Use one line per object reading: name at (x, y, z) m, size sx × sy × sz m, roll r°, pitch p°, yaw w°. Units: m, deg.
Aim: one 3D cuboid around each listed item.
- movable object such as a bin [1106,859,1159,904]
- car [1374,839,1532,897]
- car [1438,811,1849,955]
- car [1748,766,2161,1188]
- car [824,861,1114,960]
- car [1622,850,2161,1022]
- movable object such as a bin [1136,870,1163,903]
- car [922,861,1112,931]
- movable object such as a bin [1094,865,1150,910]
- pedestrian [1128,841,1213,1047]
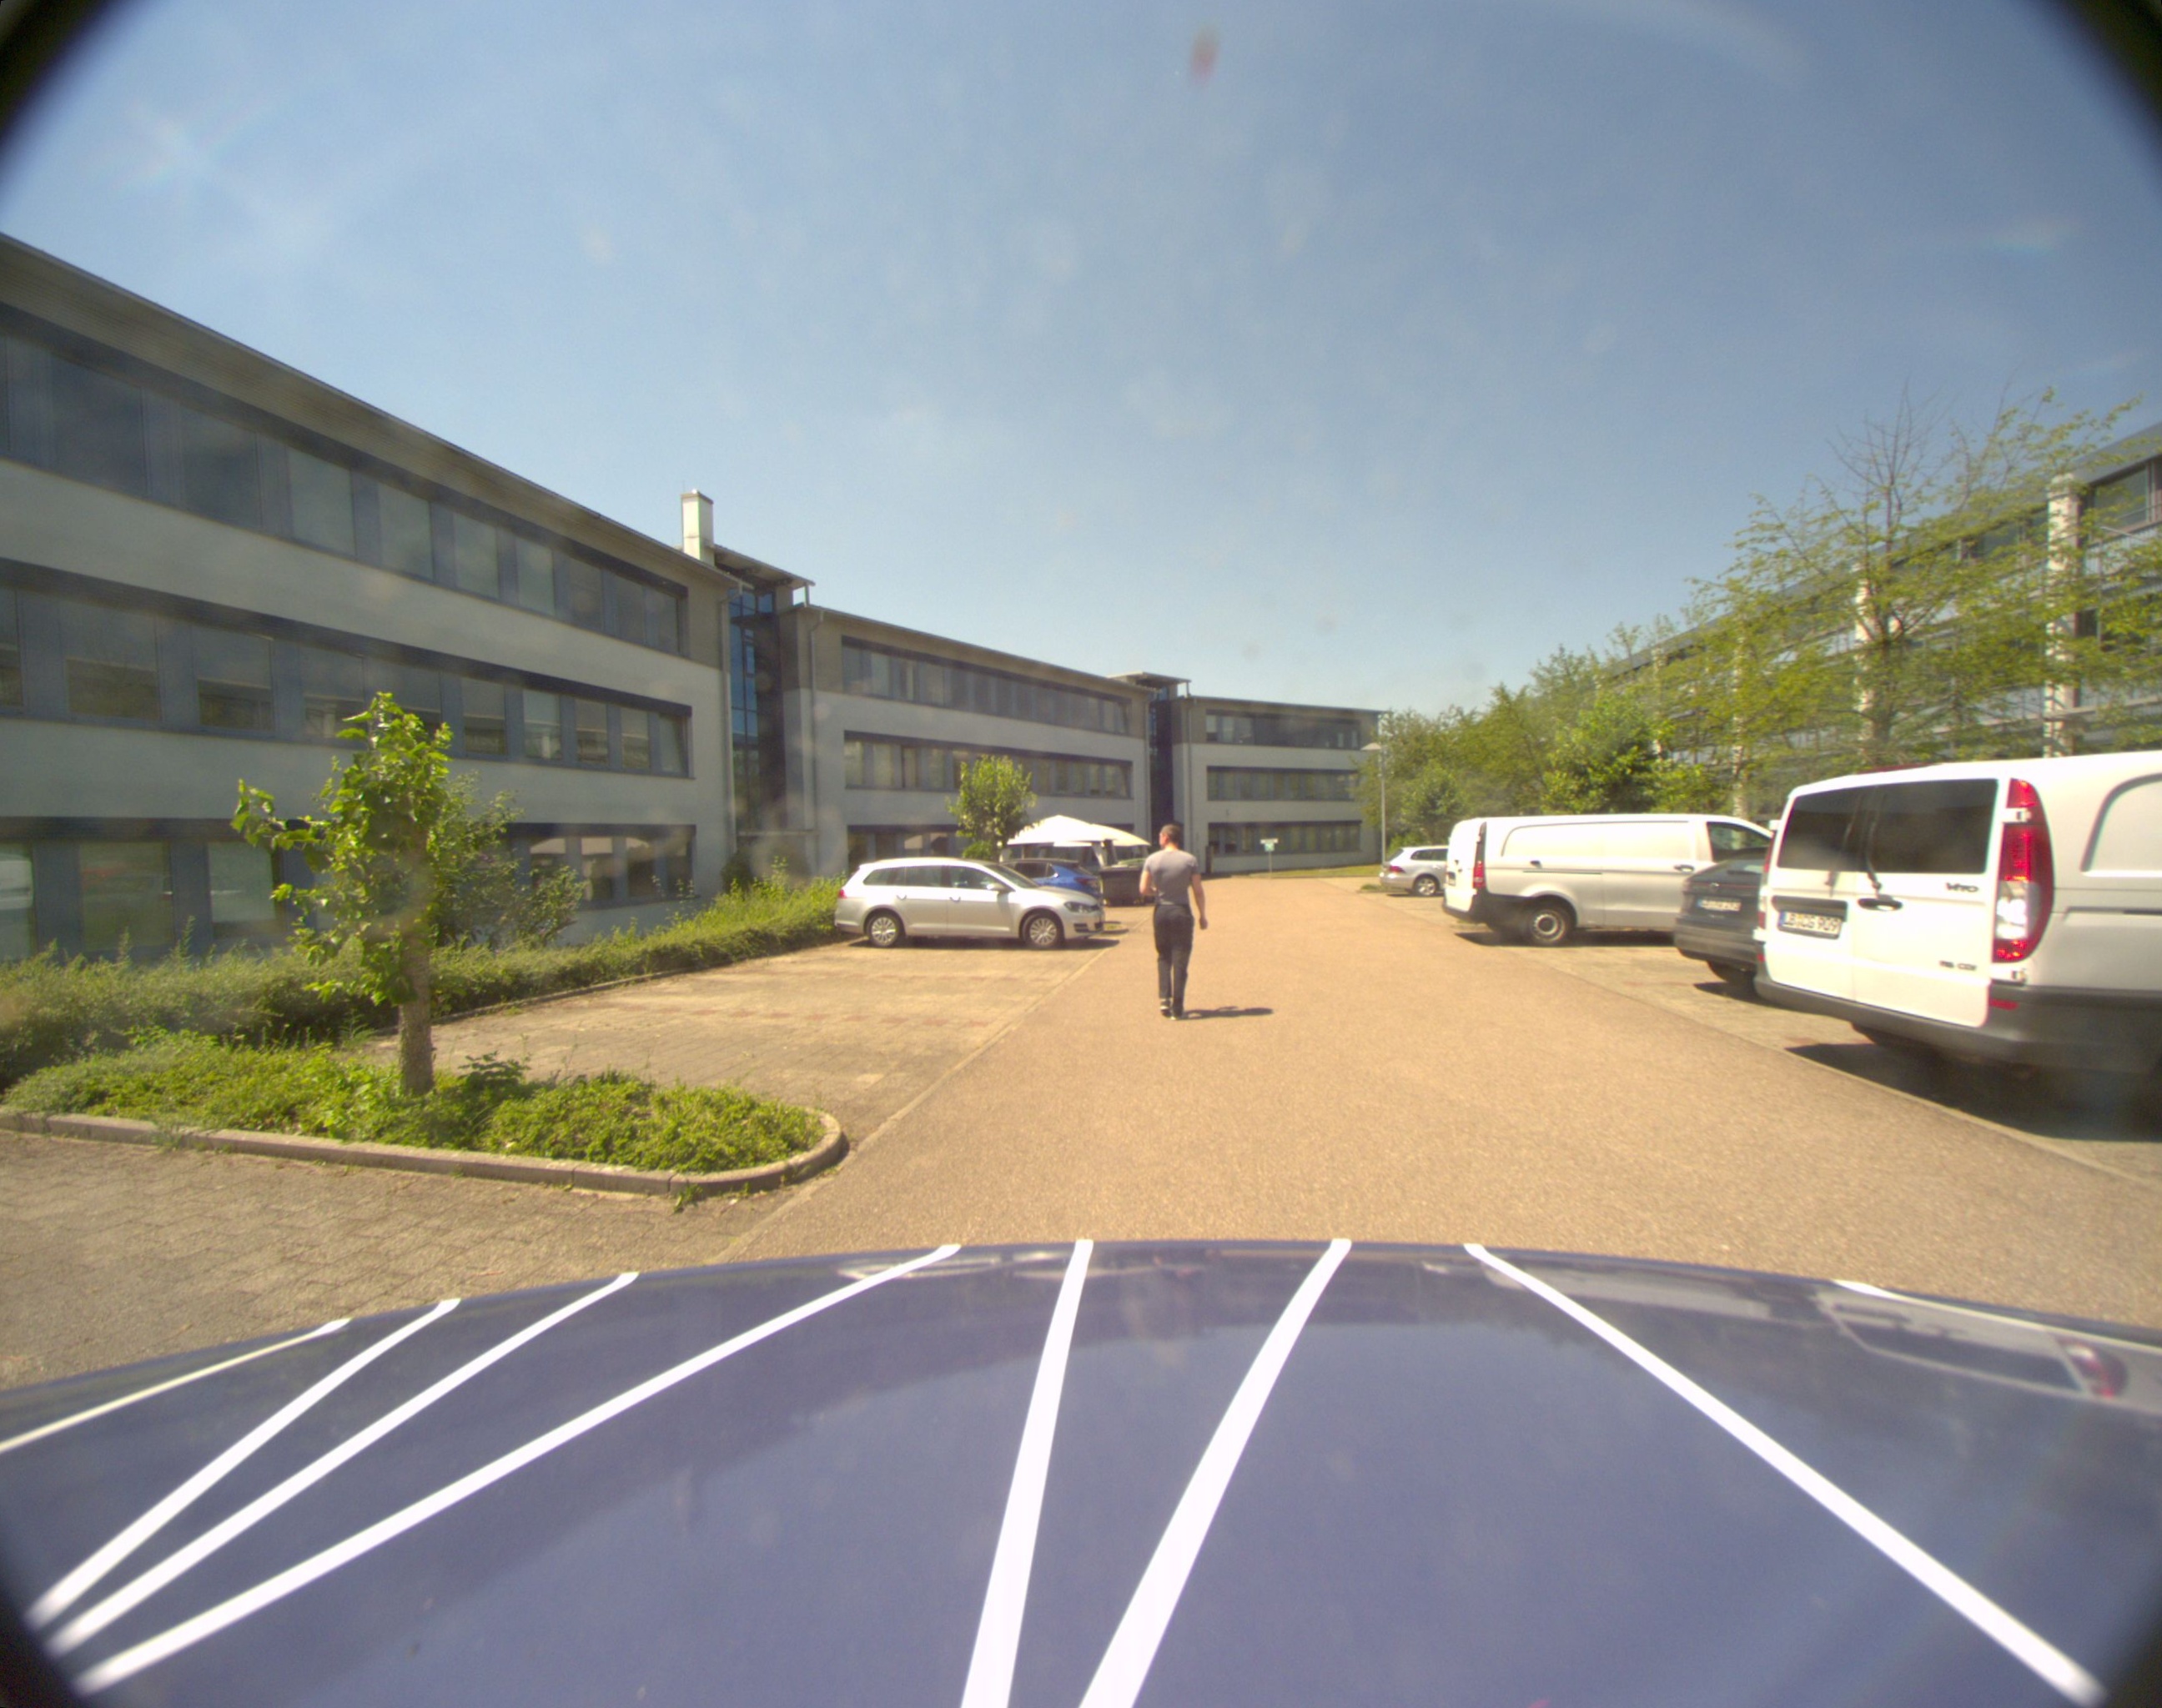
movable object such as a bin at (1.534, 0.806, 22.510) m, size 1.362 × 1.288 × 1.044 m, roll -1°, pitch 1°, yaw 16°
car at (10.635, 0.385, 21.956) m, size 3.760 × 1.549 × 1.662 m, roll -1°, pitch 1°, yaw 10°
car at (7.953, 0.416, 11.198) m, size 4.514 × 1.871 × 1.830 m, roll -1°, pitch 1°, yaw 10°
car at (6.817, 0.496, 3.985) m, size 4.728 × 1.895 × 1.830 m, roll -1°, pitch 1°, yaw 10°
car at (-1.805, 0.892, 12.941) m, size 4.513 × 1.488 × 1.830 m, roll 0°, pitch 1°, yaw 10°
car at (7.677, 0.710, 7.207) m, size 3.846 × 1.385 × 1.577 m, roll -1°, pitch 1°, yaw 10°
movable object such as a bin at (2.116, 0.994, 23.343) m, size 0.690 × 0.944 × 0.723 m, roll -1°, pitch 1°, yaw 16°
car at (-1.333, 0.858, 16.552) m, size 3.821 × 1.384 × 1.653 m, roll 0°, pitch 1°, yaw 10°
movable object such as a bin at (1.175, 0.941, 21.516) m, size 1.362 × 1.182 × 0.998 m, roll -1°, pitch 1°, yaw 16°
pedestrian at (0.830, 0.765, 6.896) m, size 0.618 × 1.747 × 0.789 m, roll -1°, pitch 1°, yaw 14°
